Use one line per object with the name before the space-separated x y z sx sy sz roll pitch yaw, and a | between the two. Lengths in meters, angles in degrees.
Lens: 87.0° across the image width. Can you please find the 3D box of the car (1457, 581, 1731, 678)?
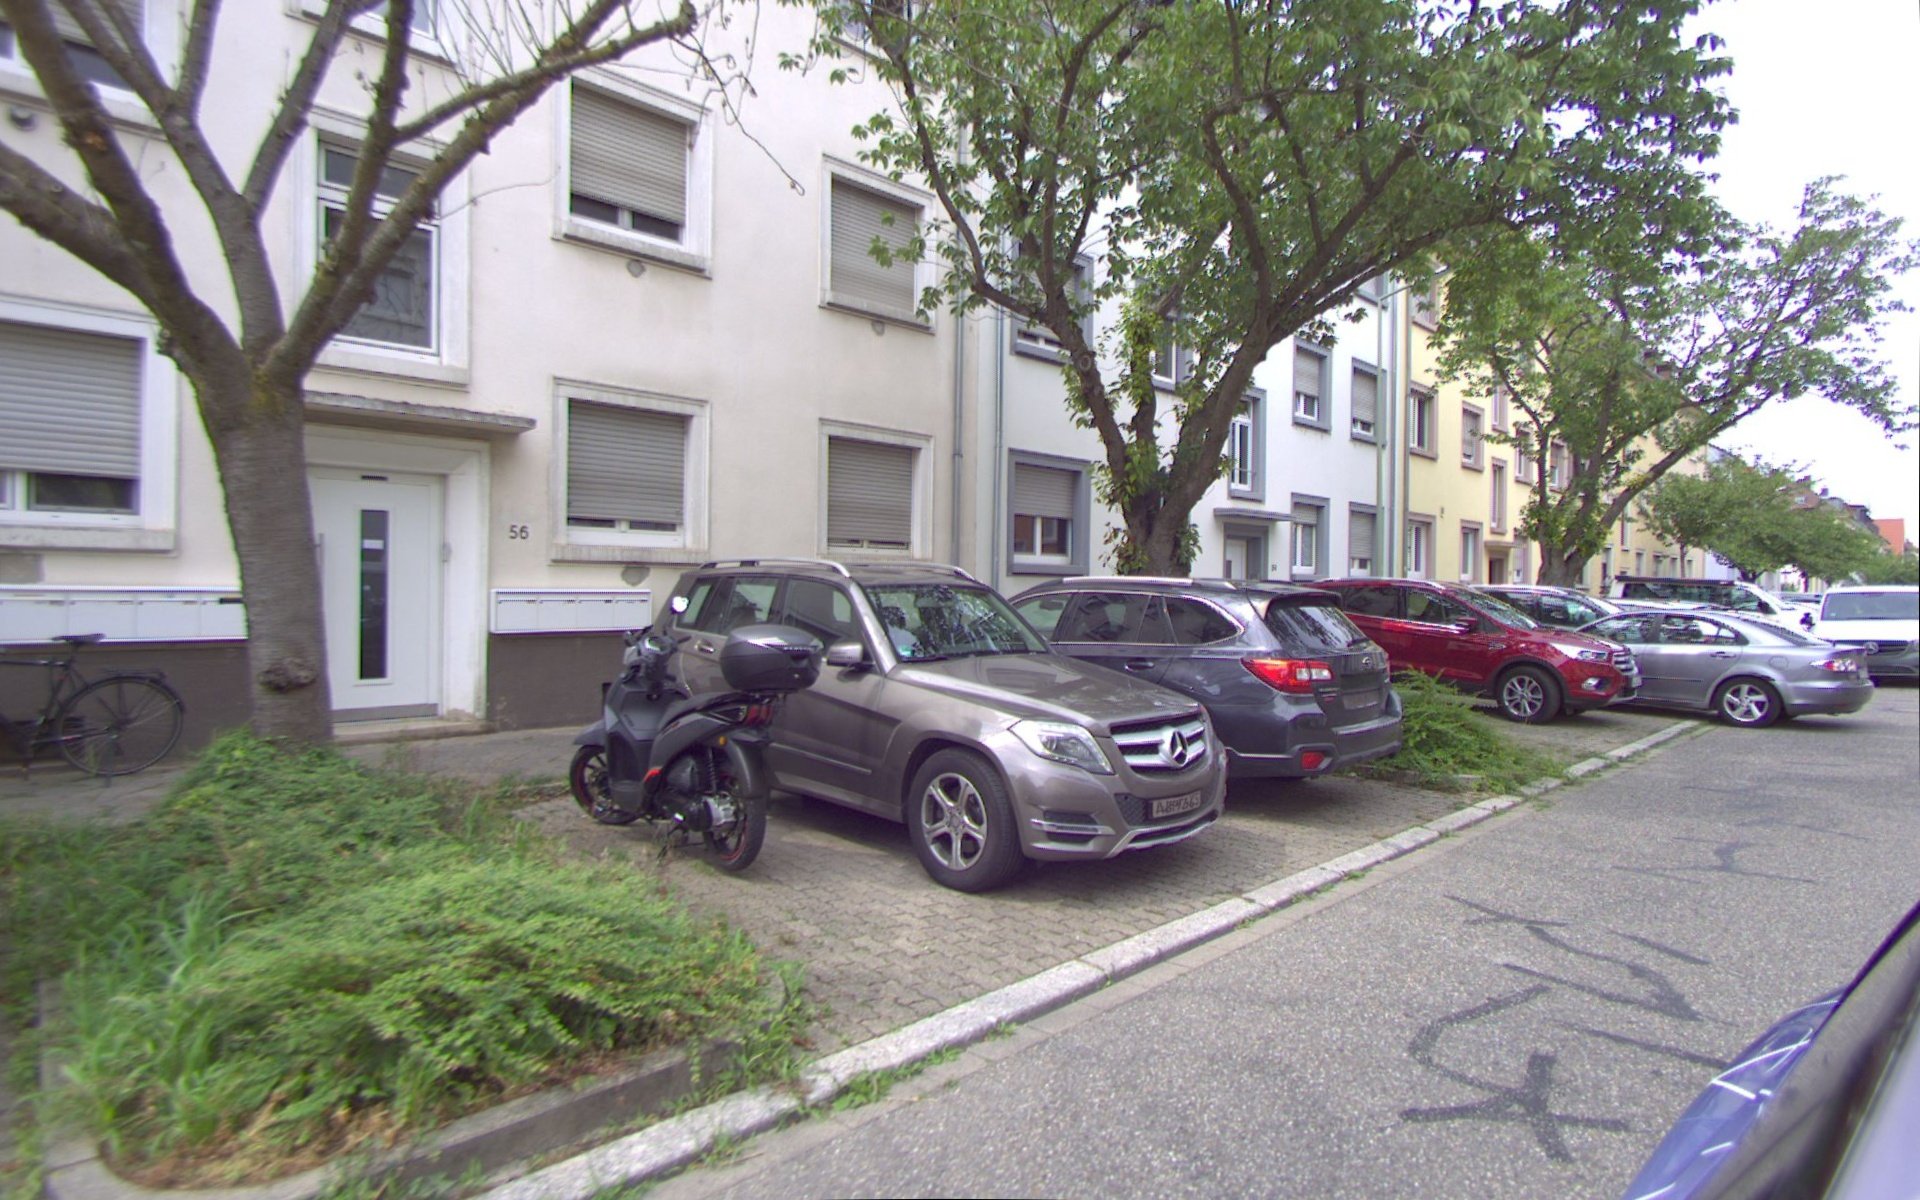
car | 11.590 0.446 18.697 1.611 1.437 3.992 -1 4 -44

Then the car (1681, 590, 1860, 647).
car | 24.843 0.509 31.092 4.096 1.432 1.821 4 4 45

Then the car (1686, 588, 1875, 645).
car | 26.491 0.468 32.792 4.550 1.528 1.821 4 4 45

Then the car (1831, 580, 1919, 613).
car | 58.597 -0.215 64.318 1.840 1.849 4.714 -1 3 -43

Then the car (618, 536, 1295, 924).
car | -0.300 0.452 6.469 4.217 1.617 1.873 4 4 44

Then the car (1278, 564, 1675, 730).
car | 6.588 0.448 13.293 1.871 1.698 4.223 0 3 -41

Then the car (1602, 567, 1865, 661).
car | 19.983 0.251 26.321 5.229 2.048 2.042 4 3 43

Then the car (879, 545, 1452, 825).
car | 1.437 0.422 8.236 4.217 1.617 1.873 4 4 45

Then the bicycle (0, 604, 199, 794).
bicycle | -6.099 0.615 6.427 1.972 1.110 0.687 -1 3 -43

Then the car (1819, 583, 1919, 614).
car | 52.700 -0.137 58.546 1.840 1.555 4.398 -1 3 -43

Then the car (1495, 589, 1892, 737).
car | 9.579 0.689 13.451 1.737 1.472 3.992 -1 4 -44

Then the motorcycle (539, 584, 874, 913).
motorcycle | -1.466 0.641 5.498 2.226 1.427 0.703 2 1 45

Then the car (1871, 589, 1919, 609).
car | 69.121 -0.069 74.201 3.431 1.465 1.621 1 0 43

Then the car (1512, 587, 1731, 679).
car | 13.701 0.602 21.077 1.785 1.593 3.482 -1 3 -44

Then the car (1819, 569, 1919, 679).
car | 18.284 0.399 19.758 1.993 1.939 4.629 -1 0 44

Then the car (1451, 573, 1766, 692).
car | 10.339 0.412 16.363 1.611 1.554 3.992 -1 3 -44

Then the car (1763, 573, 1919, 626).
car | 36.854 -0.068 42.427 1.820 1.933 4.745 0 3 -43
